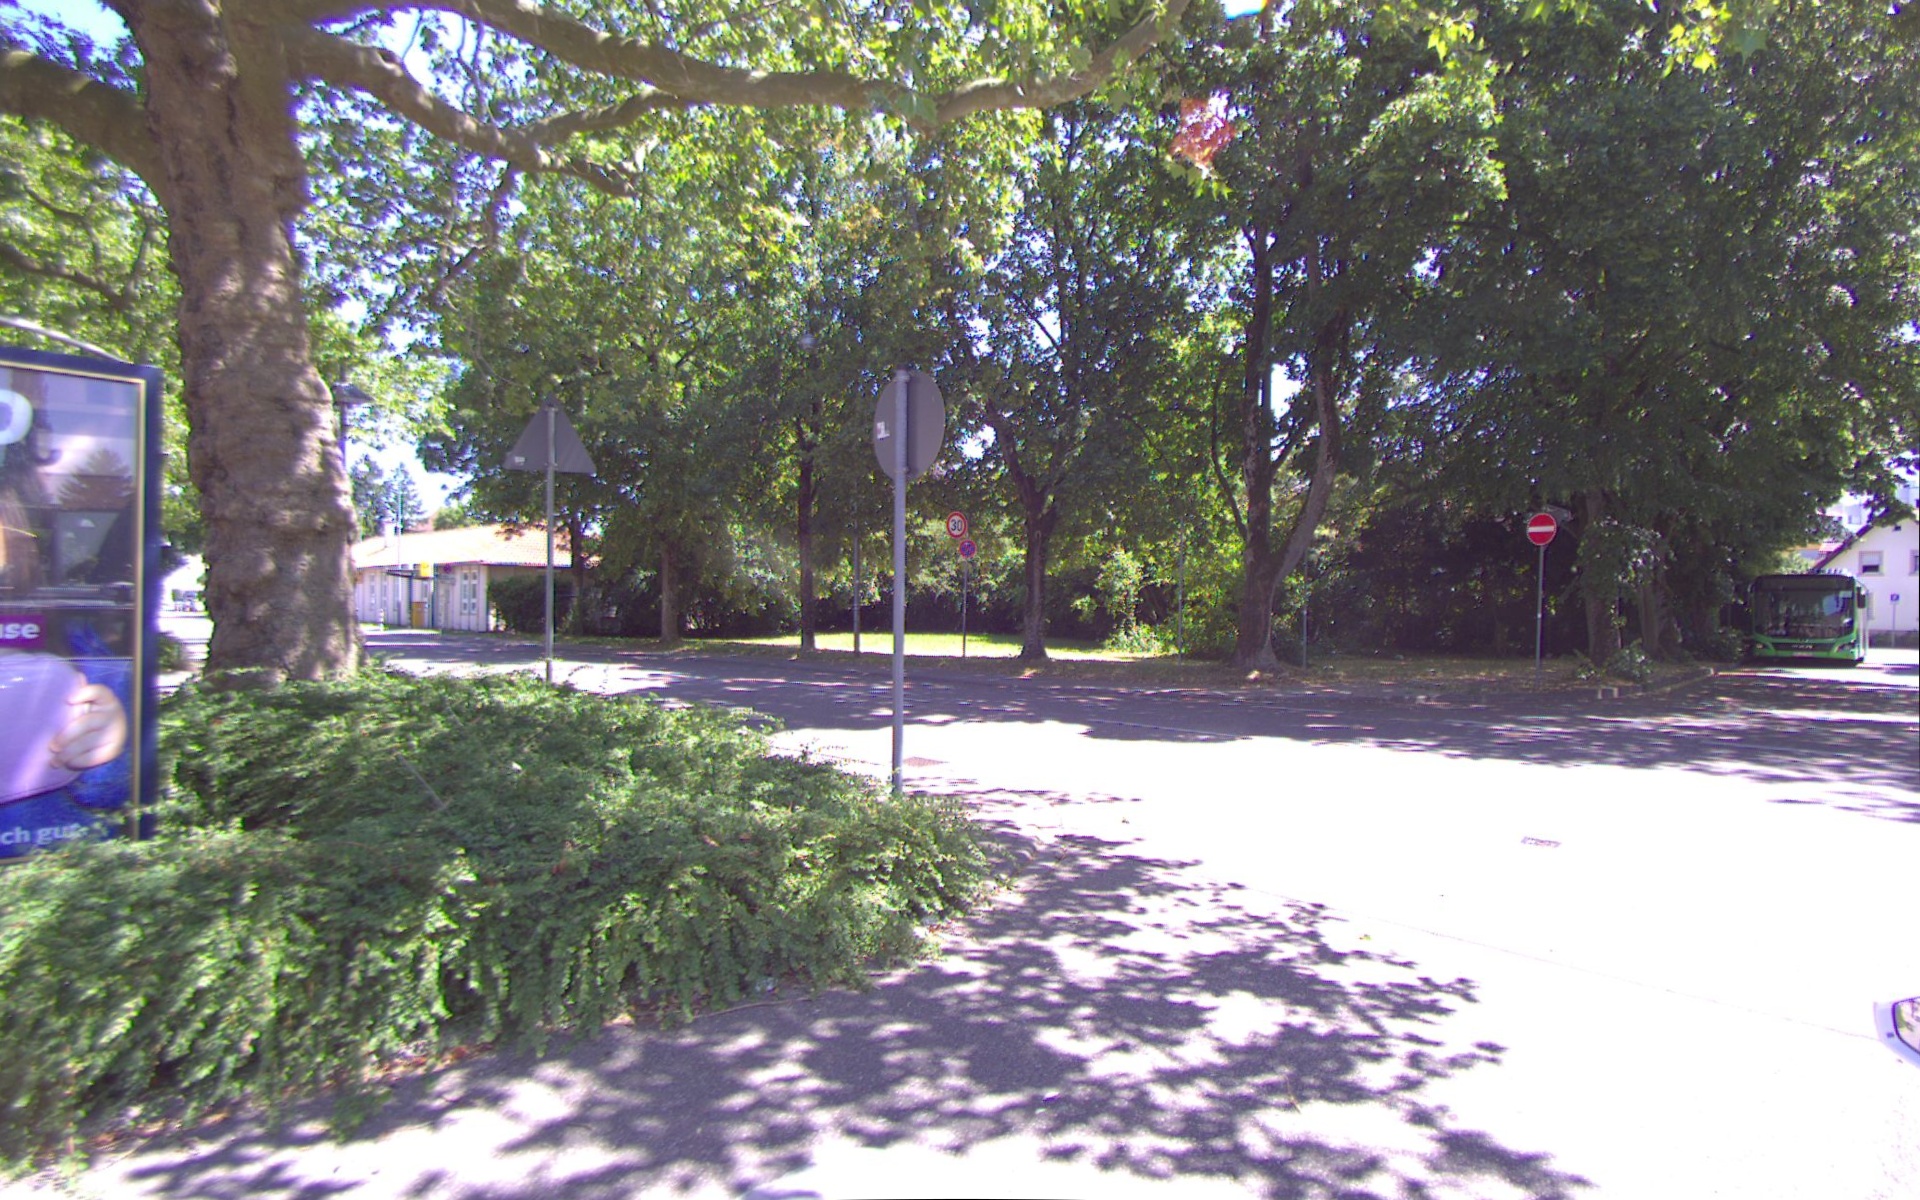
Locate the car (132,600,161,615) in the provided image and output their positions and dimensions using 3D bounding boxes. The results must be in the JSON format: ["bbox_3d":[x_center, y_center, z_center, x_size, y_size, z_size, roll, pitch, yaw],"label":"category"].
[{"bbox_3d":[-90.605,0.808,111.871,3.943,1.686,1.919,0,0,42],"label":"car"}]

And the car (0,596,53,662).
[{"bbox_3d":[-22.198,0.613,20.791,1.752,1.436,4.775,1,0,24],"label":"car"}]

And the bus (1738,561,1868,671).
[{"bbox_3d":[31.618,0.602,37.312,2.837,3.339,15.858,1,0,43],"label":"bus"}]
